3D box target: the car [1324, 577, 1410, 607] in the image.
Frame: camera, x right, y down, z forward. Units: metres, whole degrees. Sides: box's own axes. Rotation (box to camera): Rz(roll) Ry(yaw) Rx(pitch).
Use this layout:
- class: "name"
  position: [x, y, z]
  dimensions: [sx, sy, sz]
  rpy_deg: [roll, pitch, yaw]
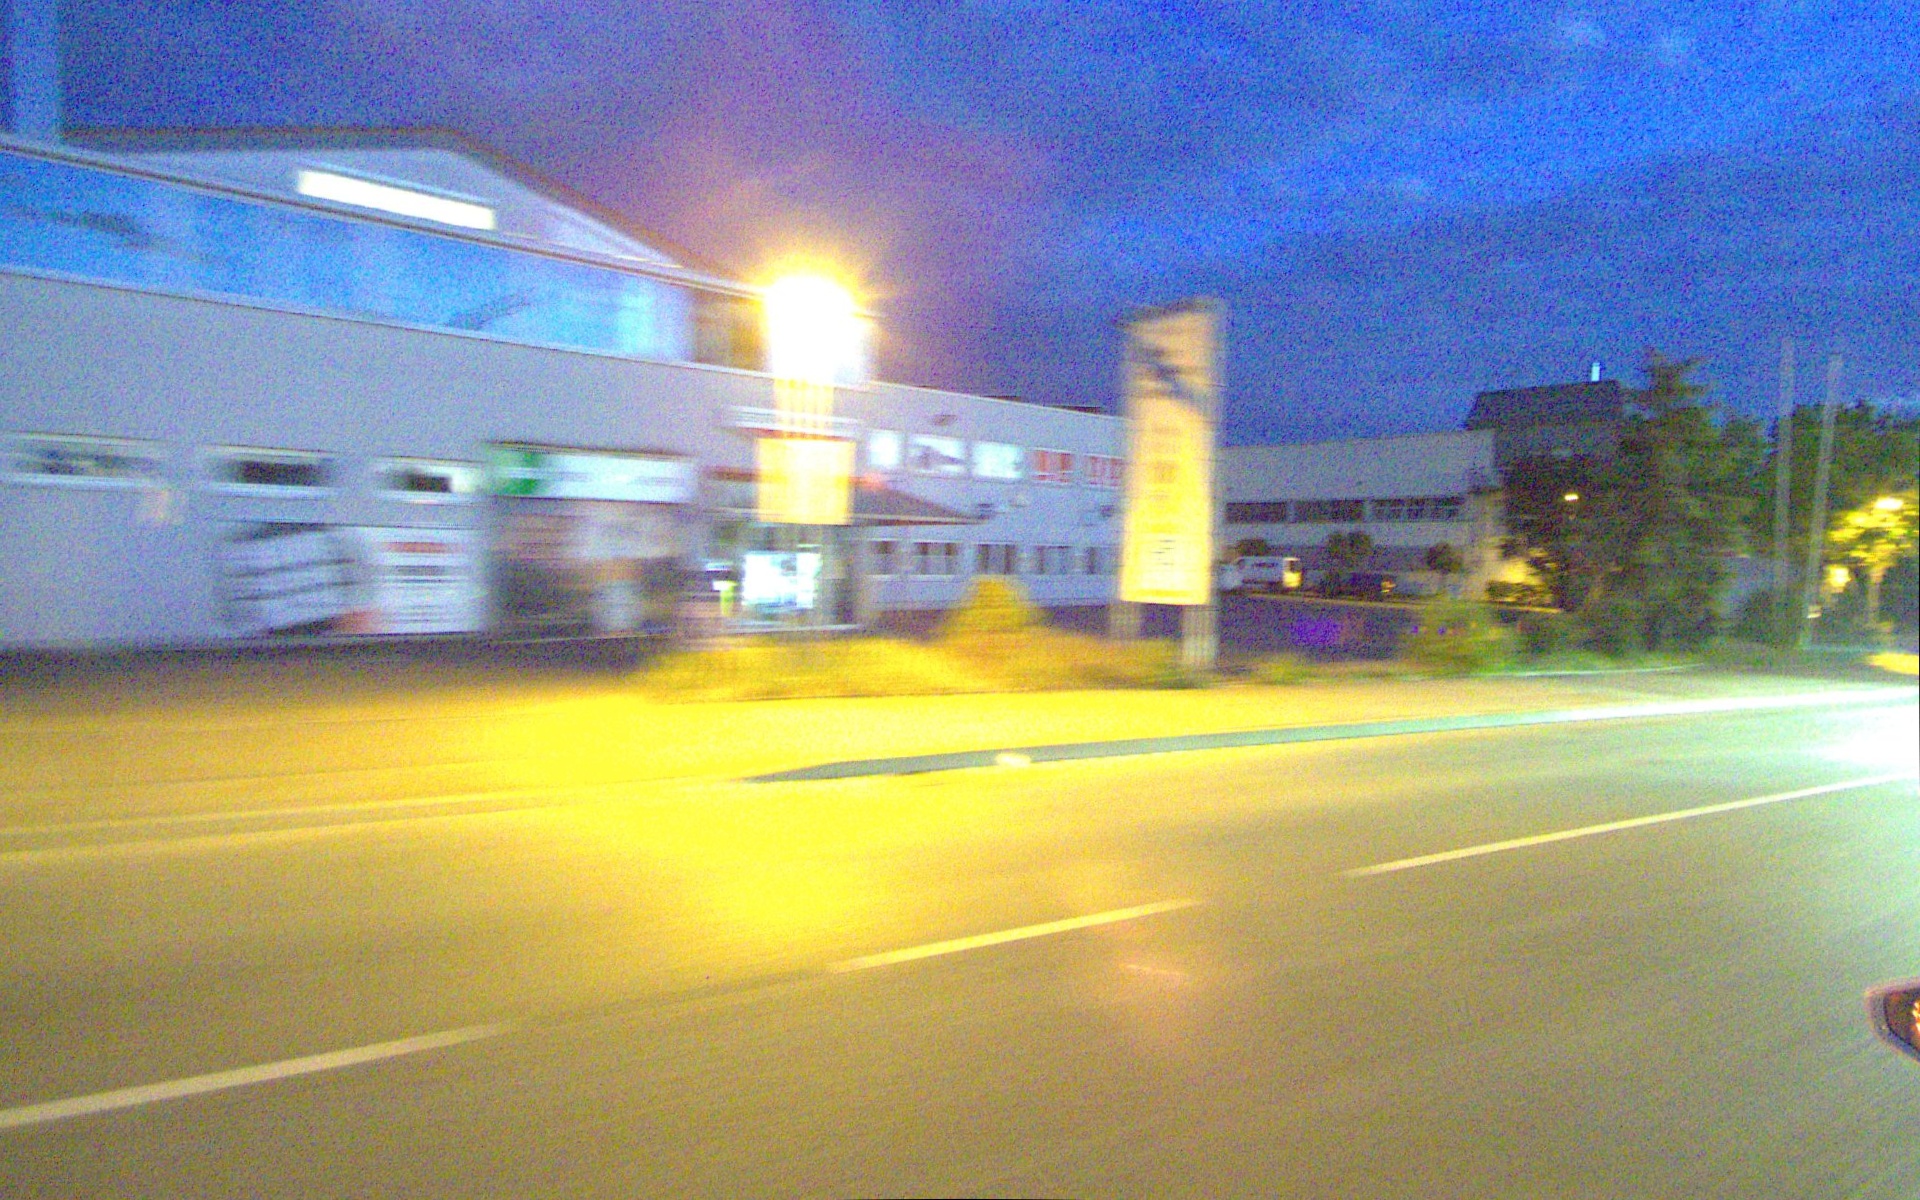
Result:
- class: "car"
  position: [24.224, -0.501, 59.874]
  dimensions: [1.898, 1.611, 4.290]
  rpy_deg: [0, 3, -44]

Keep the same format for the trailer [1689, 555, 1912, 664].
- class: "trailer"
  position: [23.171, 0.222, 27.870]
  dimensions: [1.977, 2.756, 4.327]
  rpy_deg: [0, 1, -30]

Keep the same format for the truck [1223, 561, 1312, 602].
- class: "truck"
  position: [19.685, -1.215, 64.523]
  dimensions: [4.972, 2.422, 2.150]
  rpy_deg: [4, 3, 43]

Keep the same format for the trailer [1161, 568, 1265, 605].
- class: "trailer"
  position: [13.132, -0.735, 52.503]
  dimensions: [1.863, 1.644, 5.183]
  rpy_deg: [0, 3, -38]
